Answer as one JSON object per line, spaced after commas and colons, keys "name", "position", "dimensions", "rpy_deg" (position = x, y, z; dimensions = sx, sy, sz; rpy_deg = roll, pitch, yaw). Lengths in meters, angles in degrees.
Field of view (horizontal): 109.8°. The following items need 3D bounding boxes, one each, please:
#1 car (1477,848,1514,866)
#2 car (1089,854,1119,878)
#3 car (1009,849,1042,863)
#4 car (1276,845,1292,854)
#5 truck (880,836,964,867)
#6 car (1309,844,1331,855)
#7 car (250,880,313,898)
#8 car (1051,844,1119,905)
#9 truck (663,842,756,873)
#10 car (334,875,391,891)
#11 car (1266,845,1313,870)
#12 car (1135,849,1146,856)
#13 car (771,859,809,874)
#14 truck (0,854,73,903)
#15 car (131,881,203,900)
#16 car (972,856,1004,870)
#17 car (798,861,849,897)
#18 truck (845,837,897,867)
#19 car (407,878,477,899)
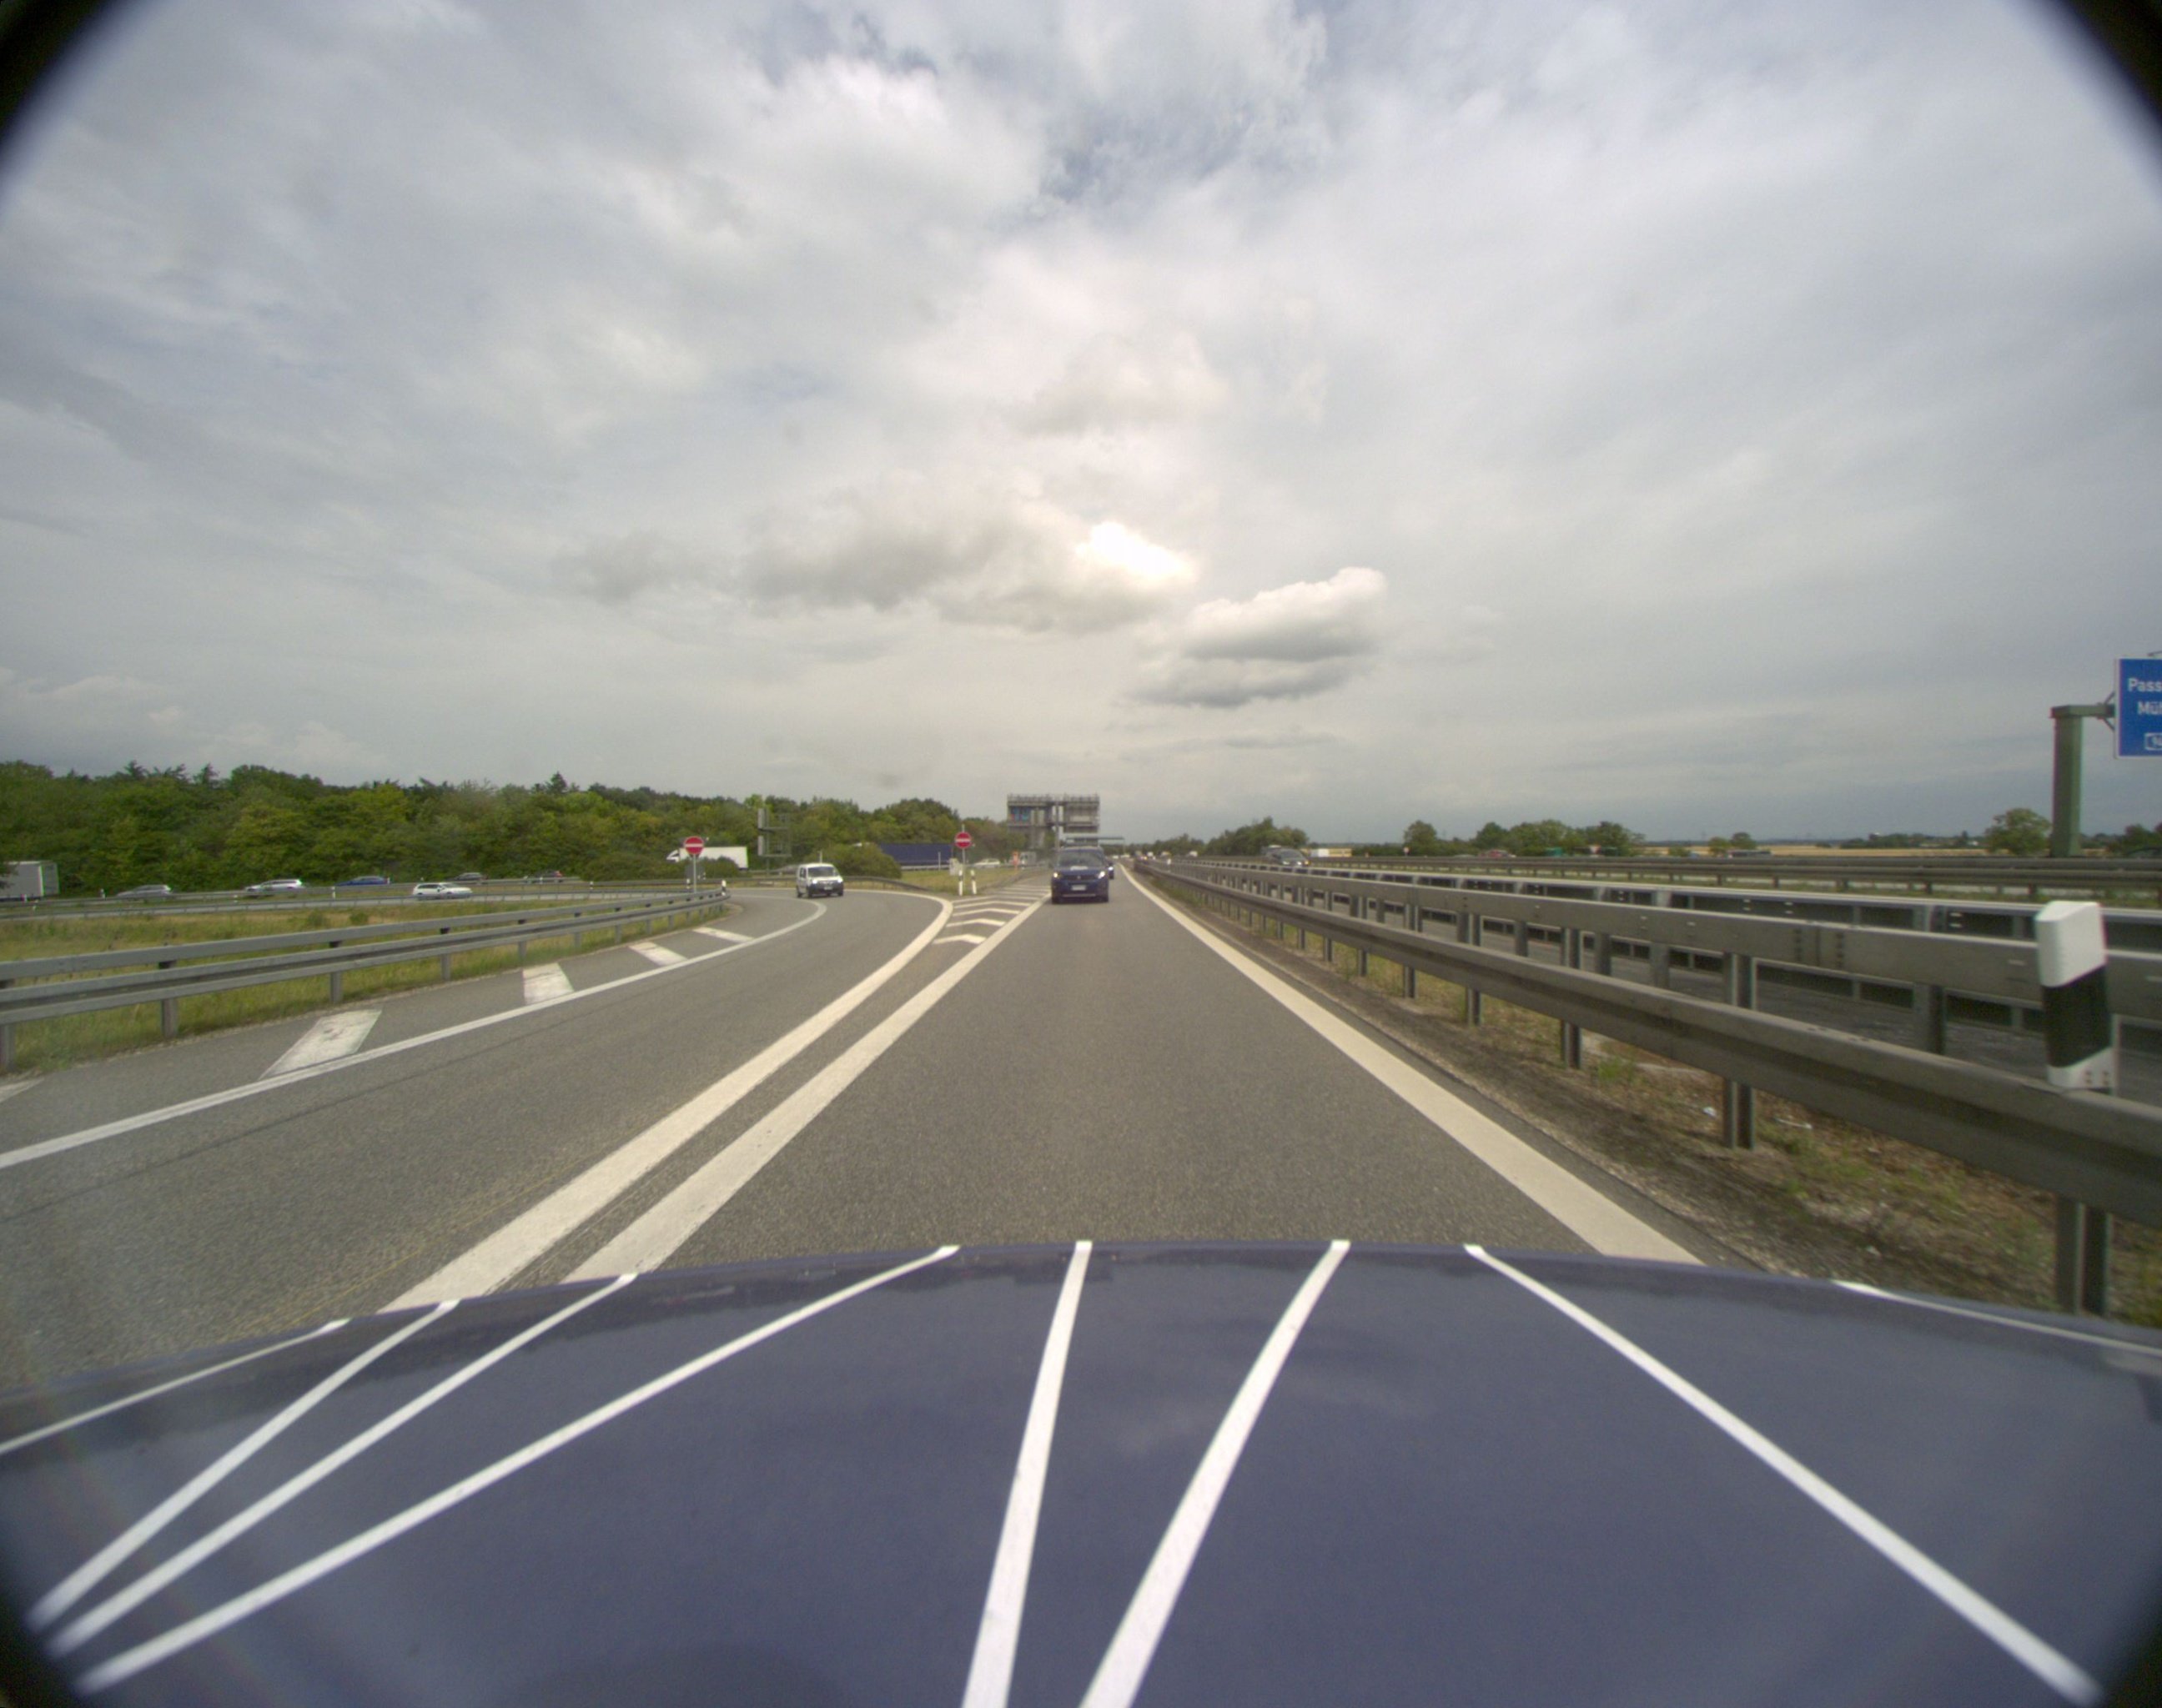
{"name": "car", "position": [43.877, 0.295, 80.490], "dimensions": [1.802, 1.849, 4.000], "rpy_deg": [-2, 0, 1]}
{"name": "car", "position": [1.452, 0.742, 49.326], "dimensions": [1.747, 1.381, 3.999], "rpy_deg": [-2, 1, 0]}
{"name": "car", "position": [-8.903, 0.313, 121.514], "dimensions": [1.995, 2.002, 5.964], "rpy_deg": [-2, 1, 33]}
{"name": "car", "position": [40.471, -0.881, 151.547], "dimensions": [1.831, 1.849, 3.998], "rpy_deg": [-2, 0, -4]}
{"name": "truck", "position": [-22.277, -0.414, 107.458], "dimensions": [11.815, 3.836, 2.839], "rpy_deg": [-3, 1, -44]}
{"name": "car", "position": [41.158, -0.794, 130.906], "dimensions": [2.107, 1.849, 4.749], "rpy_deg": [-2, 0, -1]}
{"name": "car", "position": [-80.896, 3.551, 76.936], "dimensions": [4.005, 1.548, 1.795], "rpy_deg": [-2, 1, -28]}
{"name": "car", "position": [0.106, 0.615, 25.158], "dimensions": [1.999, 1.783, 3.999], "rpy_deg": [-2, 0, 0]}
{"name": "truck", "position": [-44.919, 0.376, 92.279], "dimensions": [9.887, 3.383, 2.690], "rpy_deg": [-2, 1, -24]}
{"name": "car", "position": [-75.014, 3.025, 79.419], "dimensions": [4.005, 1.485, 1.555], "rpy_deg": [-3, 1, -29]}
{"name": "car", "position": [14.368, 0.215, 52.601], "dimensions": [1.886, 1.537, 4.614], "rpy_deg": [-2, 0, -1]}
{"name": "car", "position": [13.396, -0.371, 171.611], "dimensions": [1.824, 1.537, 4.353], "rpy_deg": [-2, 0, -2]}
{"name": "car", "position": [-34.506, 1.487, 90.093], "dimensions": [4.005, 1.540, 1.734], "rpy_deg": [-3, 1, -29]}
{"name": "truck", "position": [-99.157, 2.409, 66.424], "dimensions": [13.037, 4.218, 2.688], "rpy_deg": [-3, 1, -33]}
{"name": "car", "position": [-88.085, 3.476, 73.277], "dimensions": [4.005, 1.471, 1.700], "rpy_deg": [-3, 1, -29]}
{"name": "car", "position": [-13.978, 1.336, 114.204], "dimensions": [4.505, 1.774, 1.994], "rpy_deg": [-3, 1, -44]}
{"name": "car", "position": [-13.564, 1.258, 39.907], "dimensions": [1.866, 1.735, 3.991], "rpy_deg": [-3, 1, -27]}
{"name": "truck", "position": [-28.068, -0.248, 101.701], "dimensions": [5.939, 3.780, 2.894], "rpy_deg": [-2, 0, -44]}
{"name": "car", "position": [-55.492, 3.011, 66.037], "dimensions": [4.480, 1.532, 1.726], "rpy_deg": [-2, 1, 0]}
